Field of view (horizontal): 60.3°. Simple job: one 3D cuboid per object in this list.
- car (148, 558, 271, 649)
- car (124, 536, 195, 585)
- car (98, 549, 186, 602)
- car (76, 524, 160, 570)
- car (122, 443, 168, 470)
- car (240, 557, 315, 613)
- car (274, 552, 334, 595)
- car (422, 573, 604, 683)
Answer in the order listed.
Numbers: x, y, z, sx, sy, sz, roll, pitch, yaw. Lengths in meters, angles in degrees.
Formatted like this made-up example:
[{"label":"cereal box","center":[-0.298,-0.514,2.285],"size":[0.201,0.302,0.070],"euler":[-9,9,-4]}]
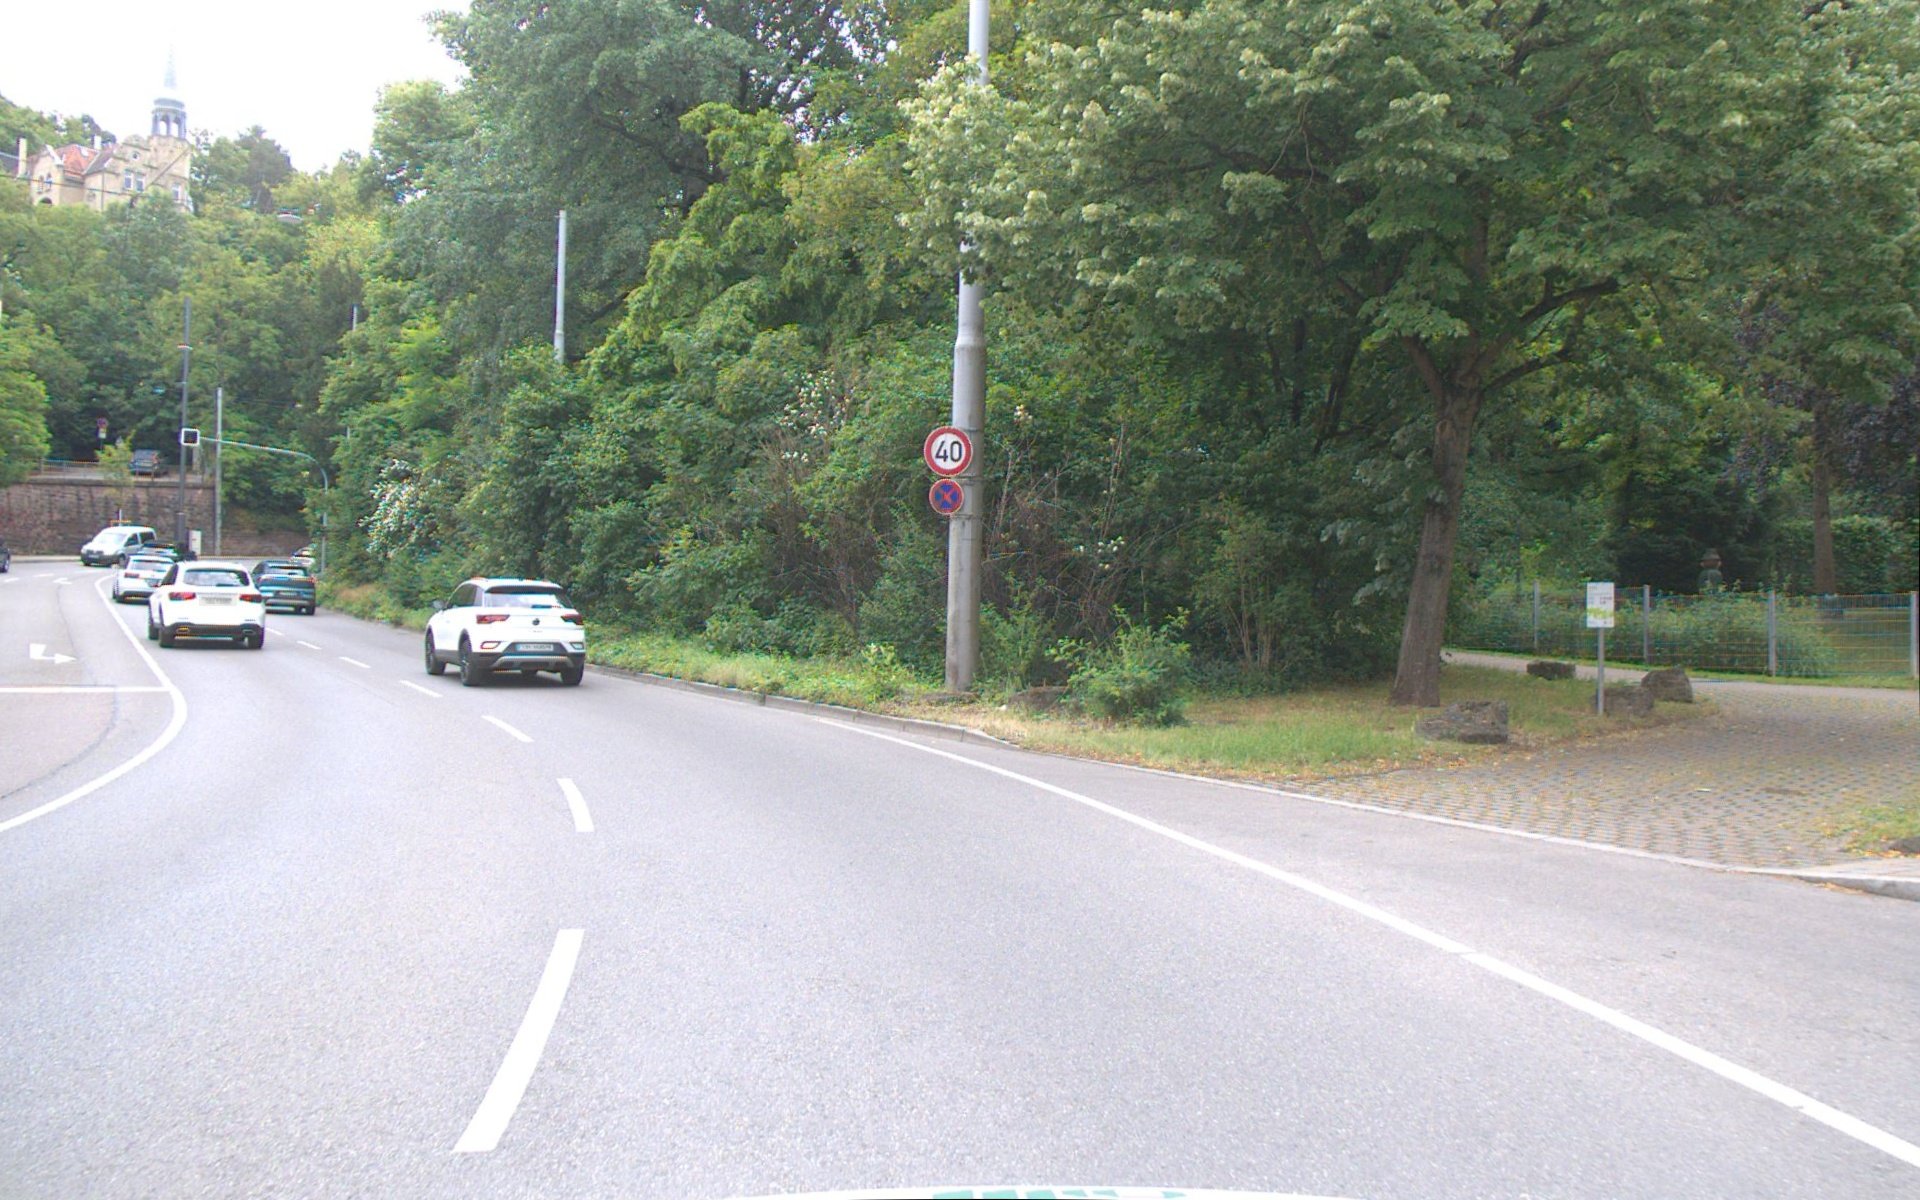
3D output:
[{"label":"car","center":[-15.099,0.040,33.153],"size":[1.857,1.681,4.297],"euler":[0,1,-30]},{"label":"car","center":[-34.367,-1.679,71.133],"size":[2.155,2.048,3.980],"euler":[-1,1,-18]},{"label":"car","center":[-25.620,-0.793,51.938],"size":[2.218,1.545,4.277],"euler":[1,1,-24]},{"label":"car","center":[-39.846,-2.493,78.391],"size":[1.907,1.830,4.282],"euler":[4,-1,-4]},{"label":"car","center":[-49.158,-8.673,99.814],"size":[1.963,1.511,3.981],"euler":[2,5,-19]},{"label":"car","center":[-21.407,-0.492,51.789],"size":[1.839,1.660,3.924],"euler":[-1,2,-27]},{"label":"car","center":[-32.433,-1.336,81.877],"size":[1.958,2.048,3.990],"euler":[-1,1,-11]},{"label":"car","center":[-7.033,0.396,25.768],"size":[1.844,1.583,3.856],"euler":[2,0,-29]}]
